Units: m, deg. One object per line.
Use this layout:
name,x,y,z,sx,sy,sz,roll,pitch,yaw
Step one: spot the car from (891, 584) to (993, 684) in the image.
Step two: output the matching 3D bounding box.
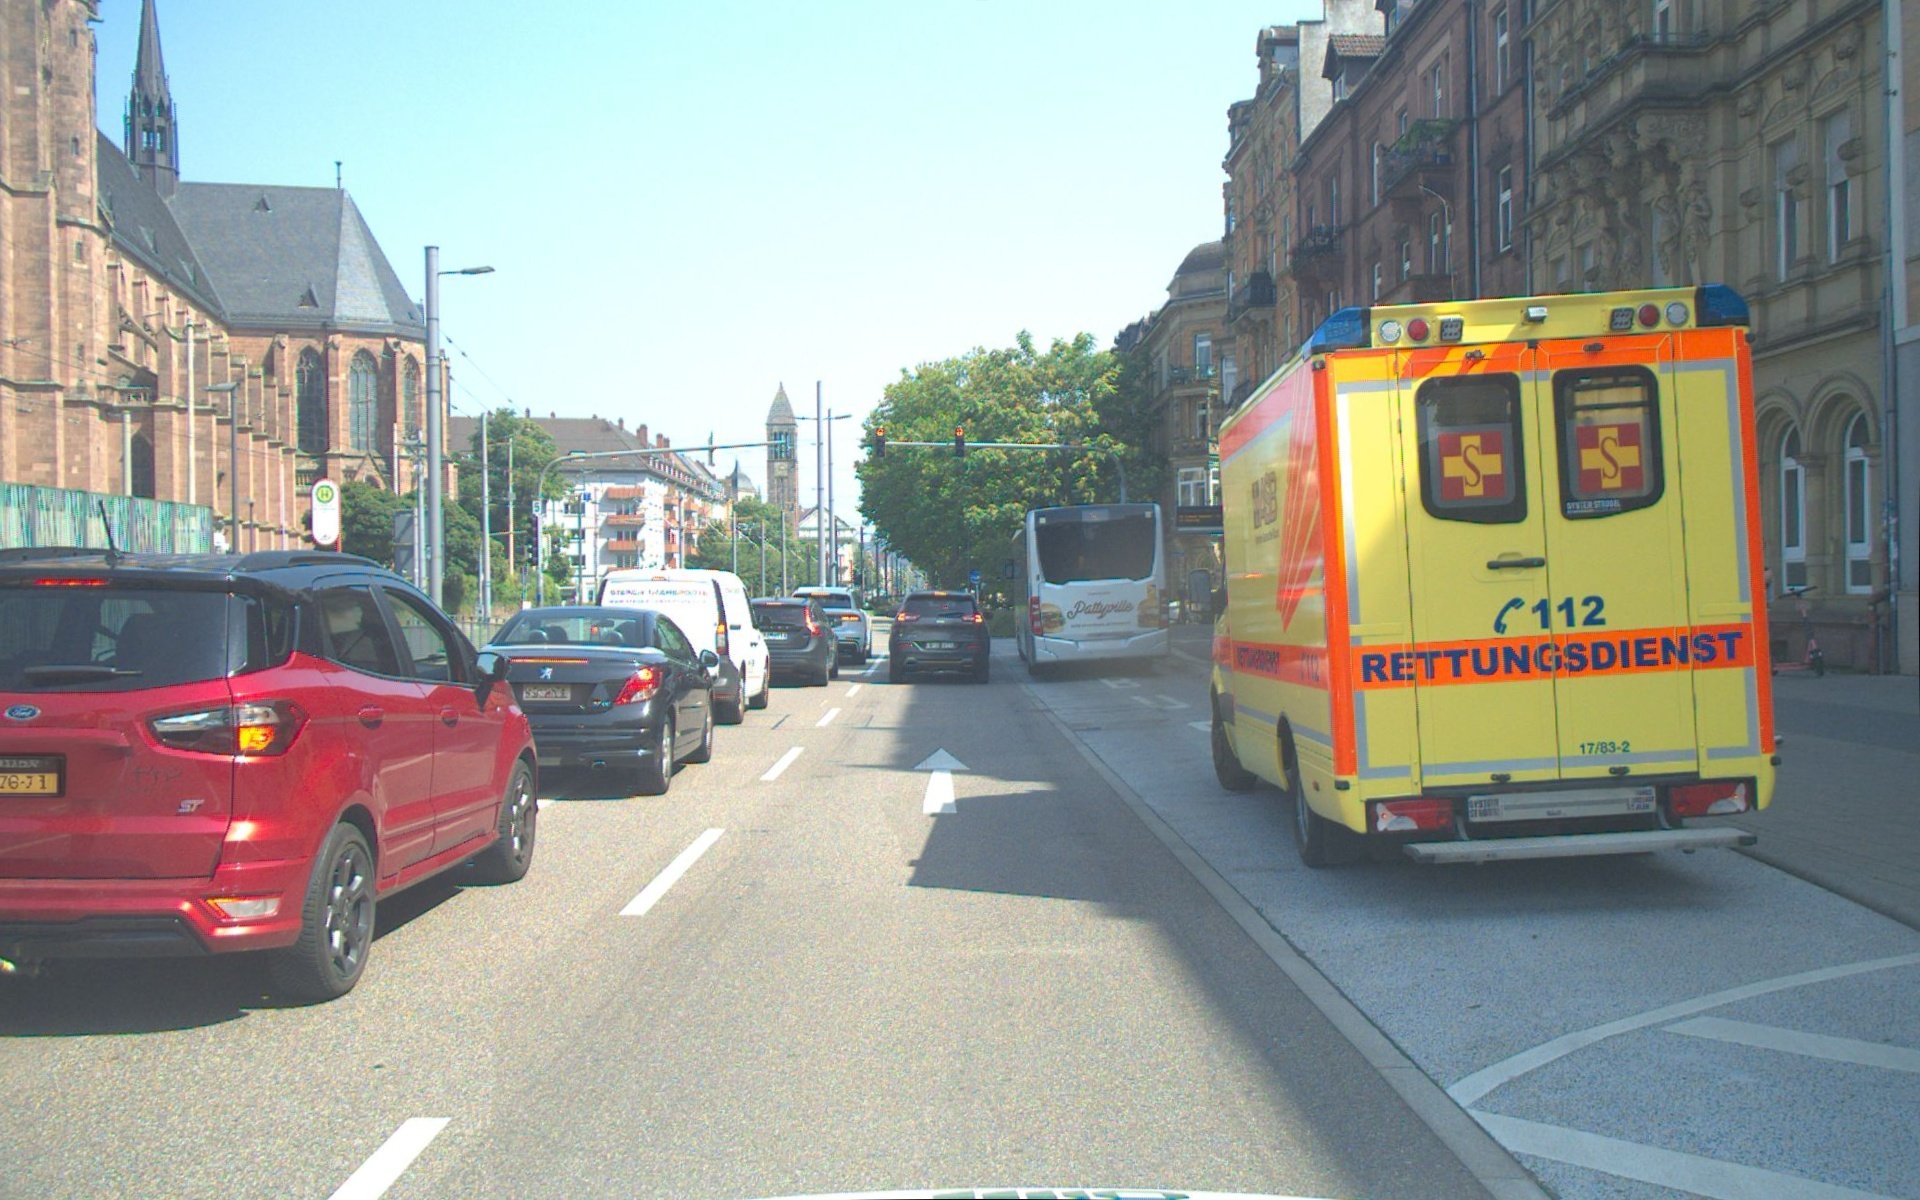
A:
car,-0.377,0.603,30.674,1.754,1.707,3.998,-1,-1,-2

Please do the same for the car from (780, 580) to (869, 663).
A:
car,-2.979,0.471,37.017,1.754,1.728,3.998,-1,-1,-2

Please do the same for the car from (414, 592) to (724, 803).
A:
car,-3.064,0.679,13.770,1.754,1.456,3.998,-1,0,-2

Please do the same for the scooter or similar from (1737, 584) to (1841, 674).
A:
scooter or similar,11.559,0.392,23.096,0.505,1.217,1.297,-1,0,-20

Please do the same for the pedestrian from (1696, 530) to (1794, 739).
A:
pedestrian,6.554,0.283,13.828,0.683,1.696,0.602,-2,1,25

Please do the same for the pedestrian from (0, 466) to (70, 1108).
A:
pedestrian,-3.193,0.518,4.564,1.043,1.782,0.764,0,0,6

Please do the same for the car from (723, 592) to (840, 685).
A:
car,-3.079,0.650,29.234,1.754,1.498,3.998,-1,-1,-2

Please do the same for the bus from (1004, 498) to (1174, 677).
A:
bus,2.431,-0.243,35.214,2.482,3.085,12.434,-1,0,-1

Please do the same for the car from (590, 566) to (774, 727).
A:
car,-3.403,0.550,20.884,1.754,1.811,3.998,-1,-1,-2

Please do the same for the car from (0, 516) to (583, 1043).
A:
car,-3.032,0.595,7.257,1.726,1.646,4.082,-1,-1,1

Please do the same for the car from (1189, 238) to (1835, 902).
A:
car,2.896,-0.158,10.331,2.251,2.939,5.601,-2,0,2
